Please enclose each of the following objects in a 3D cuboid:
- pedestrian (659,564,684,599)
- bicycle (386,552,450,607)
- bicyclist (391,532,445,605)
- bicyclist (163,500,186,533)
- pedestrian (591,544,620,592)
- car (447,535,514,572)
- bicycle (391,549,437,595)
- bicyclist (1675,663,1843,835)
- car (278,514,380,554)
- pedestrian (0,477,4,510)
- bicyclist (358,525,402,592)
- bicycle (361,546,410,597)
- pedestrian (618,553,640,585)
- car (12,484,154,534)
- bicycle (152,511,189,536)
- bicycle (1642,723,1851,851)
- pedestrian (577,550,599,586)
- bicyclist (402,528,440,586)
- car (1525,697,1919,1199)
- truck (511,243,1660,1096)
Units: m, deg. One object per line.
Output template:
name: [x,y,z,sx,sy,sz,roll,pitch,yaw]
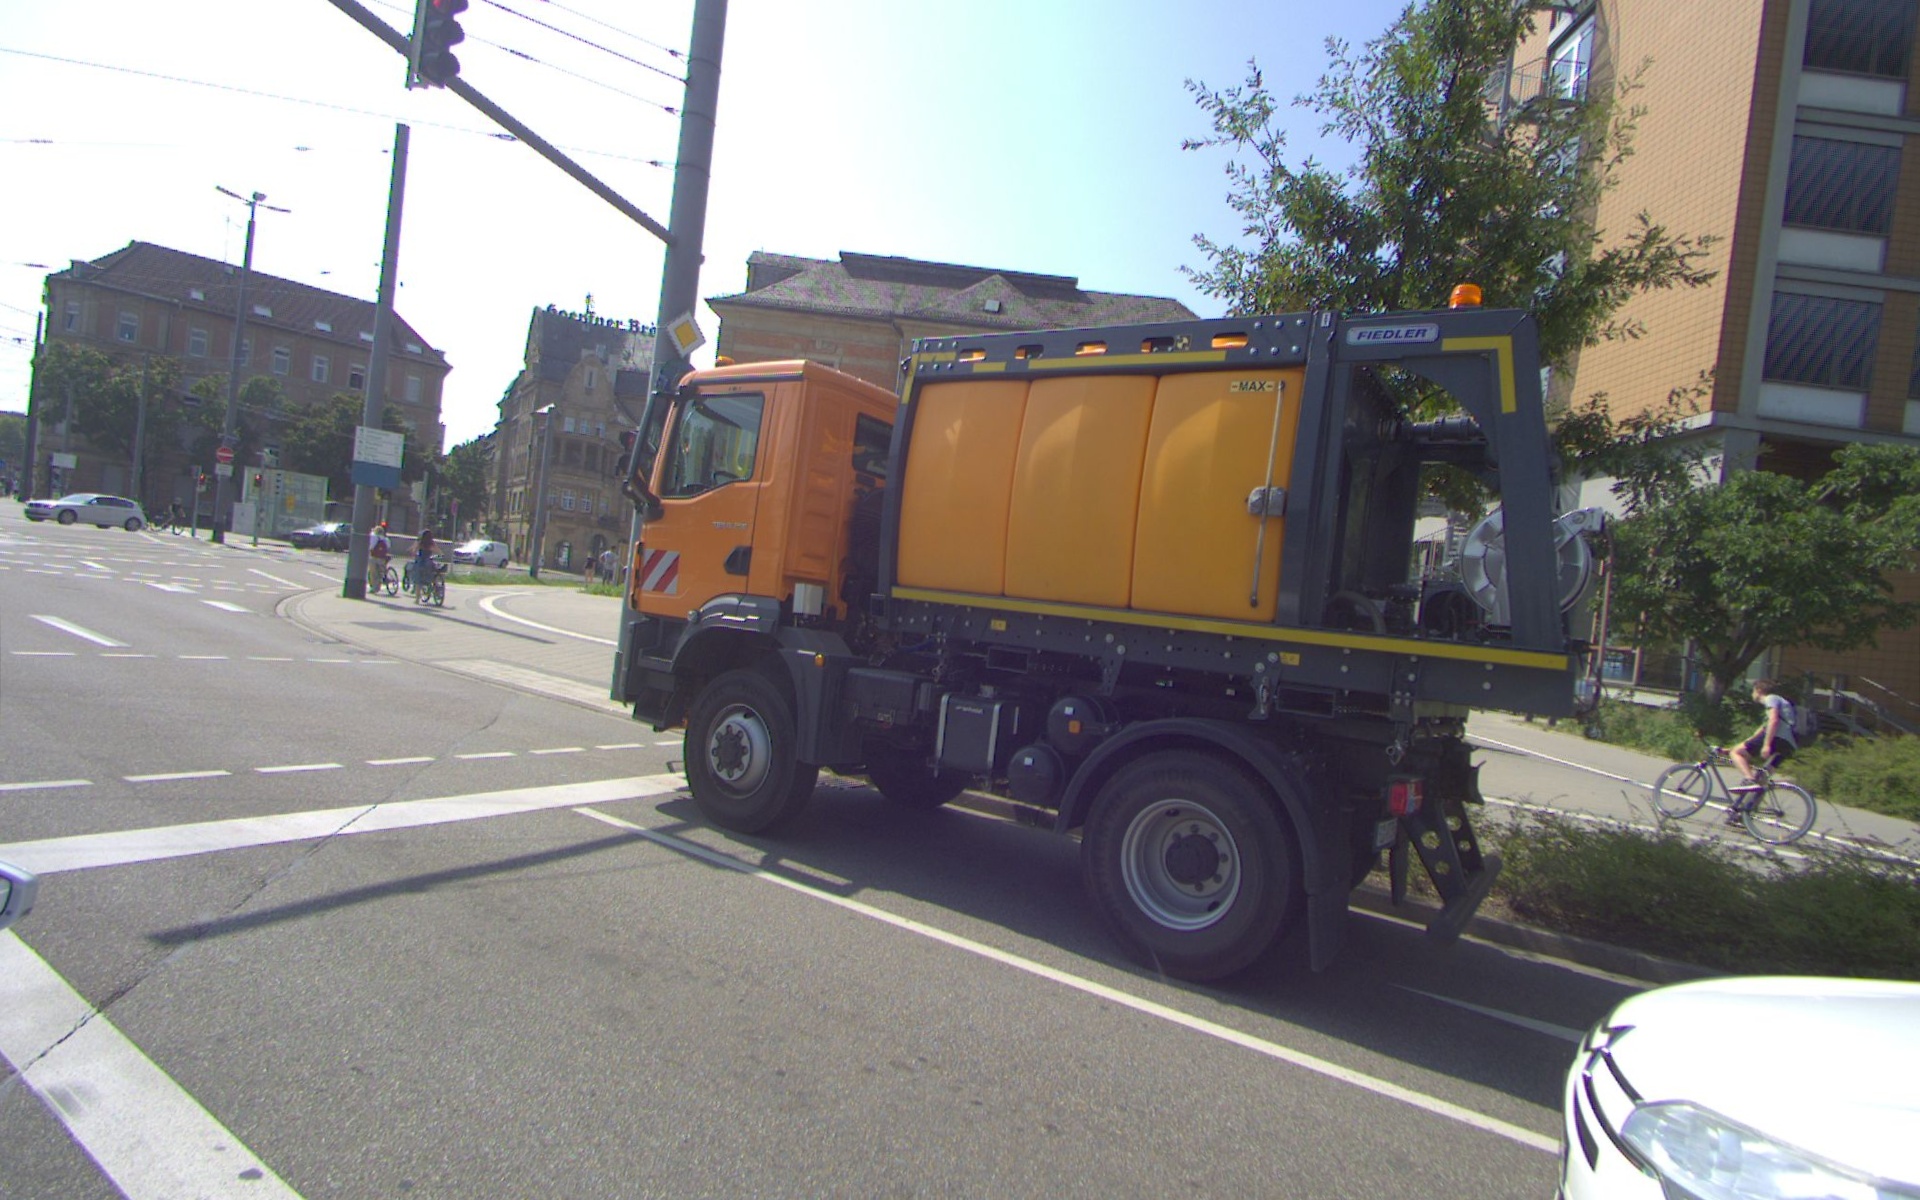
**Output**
pedestrian: [-12.536,-0.782,43.762,0.679,1.417,0.767,7,1,7]
bicycle: [-12.323,-0.478,22.842,1.795,1.068,0.492,7,1,37]
bicyclist: [-12.290,-0.716,22.809,0.653,1.537,0.734,7,1,36]
bicyclist: [-39.569,-4.207,50.661,0.511,1.548,0.613,7,1,8]
pedestrian: [-13.633,-1.219,38.729,0.808,1.746,0.546,7,1,-9]
car: [-32.561,-3.143,68.413,1.962,2.038,4.626,7,0,3]
bicycle: [-14.484,-0.746,26.679,1.632,1.068,0.535,7,1,45]
bicyclist: [8.534,1.573,10.782,0.891,1.626,0.921,6,1,-17]
car: [-34.267,-3.571,54.792,1.962,1.523,4.628,7,0,12]
pedestrian: [-47.857,-5.332,49.669,0.562,1.623,0.701,7,1,24]
bicyclist: [-14.102,-1.009,24.452,0.702,1.537,0.626,7,1,44]
bicycle: [-13.866,-0.694,24.255,1.632,1.068,0.535,7,1,45]
pedestrian: [-13.583,-1.263,41.231,0.659,1.229,0.523,6,1,-30]
car: [-36.560,-3.776,42.085,1.742,1.433,4.204,7,0,11]
bicycle: [-39.796,-3.868,50.692,1.622,1.068,0.471,7,1,12]
bicycle: [8.392,1.967,10.839,0.352,0.992,1.774,6,0,-20]
pedestrian: [-17.332,-1.497,46.907,0.727,1.595,0.787,6,1,-14]
bicyclist: [-14.142,-1.122,26.375,0.882,1.410,0.529,7,1,44]
car: [3.264,1.178,1.096,4.533,1.446,1.770,7,0,32]
truck: [0.288,0.045,6.650,6.751,3.173,2.494,7,0,34]
